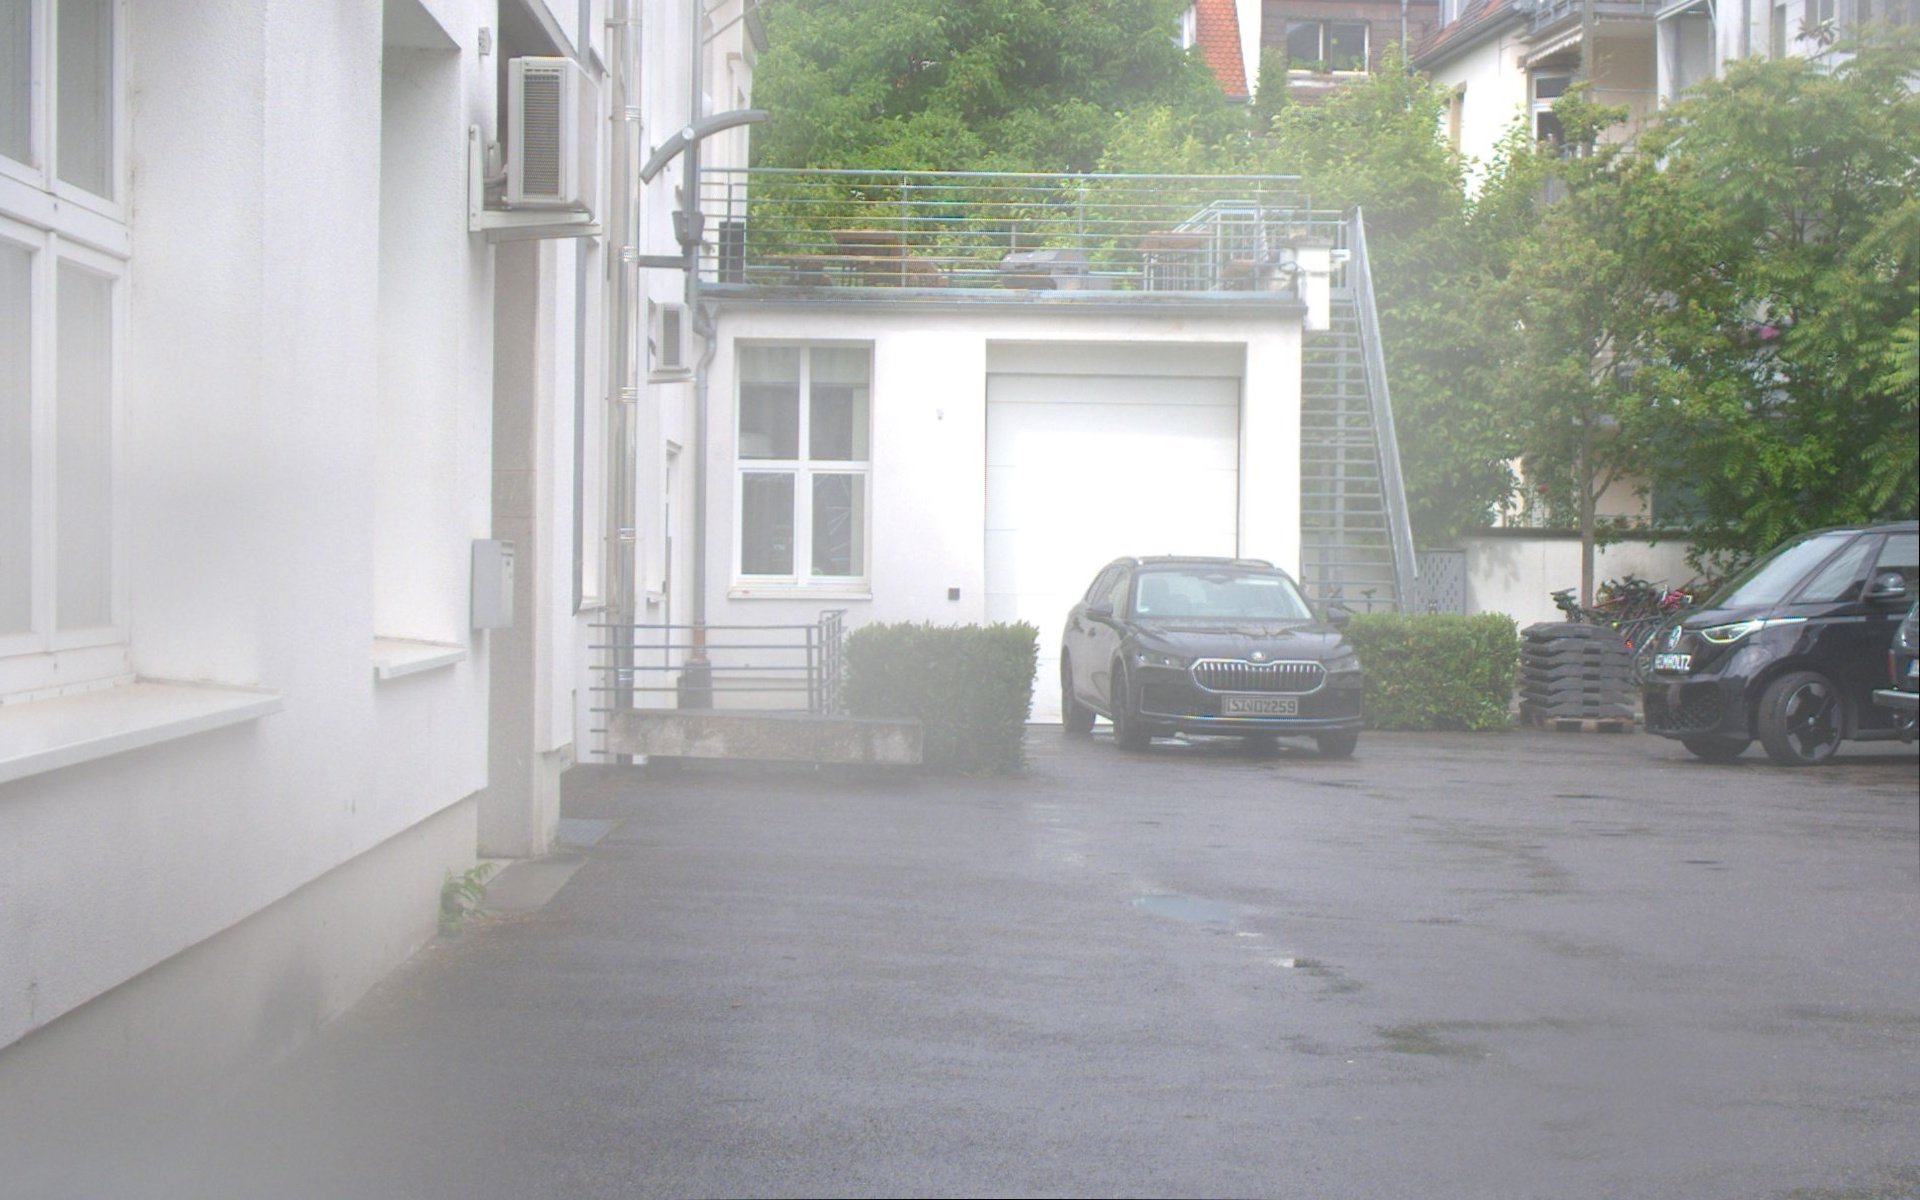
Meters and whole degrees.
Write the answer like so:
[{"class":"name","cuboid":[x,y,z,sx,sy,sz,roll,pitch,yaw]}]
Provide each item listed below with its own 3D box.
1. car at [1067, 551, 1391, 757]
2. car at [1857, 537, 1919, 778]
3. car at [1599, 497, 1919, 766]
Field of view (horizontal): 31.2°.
[{"class":"car","cuboid":[2.003,0.360,26.793,1.979,1.439,4.001,1,1,-3]},{"class":"car","cuboid":[8.600,0.376,24.463,3.908,1.682,1.817,-1,0,-2]},{"class":"car","cuboid":[7.656,0.186,27.161,4.634,1.996,2.226,-1,1,-11]}]
